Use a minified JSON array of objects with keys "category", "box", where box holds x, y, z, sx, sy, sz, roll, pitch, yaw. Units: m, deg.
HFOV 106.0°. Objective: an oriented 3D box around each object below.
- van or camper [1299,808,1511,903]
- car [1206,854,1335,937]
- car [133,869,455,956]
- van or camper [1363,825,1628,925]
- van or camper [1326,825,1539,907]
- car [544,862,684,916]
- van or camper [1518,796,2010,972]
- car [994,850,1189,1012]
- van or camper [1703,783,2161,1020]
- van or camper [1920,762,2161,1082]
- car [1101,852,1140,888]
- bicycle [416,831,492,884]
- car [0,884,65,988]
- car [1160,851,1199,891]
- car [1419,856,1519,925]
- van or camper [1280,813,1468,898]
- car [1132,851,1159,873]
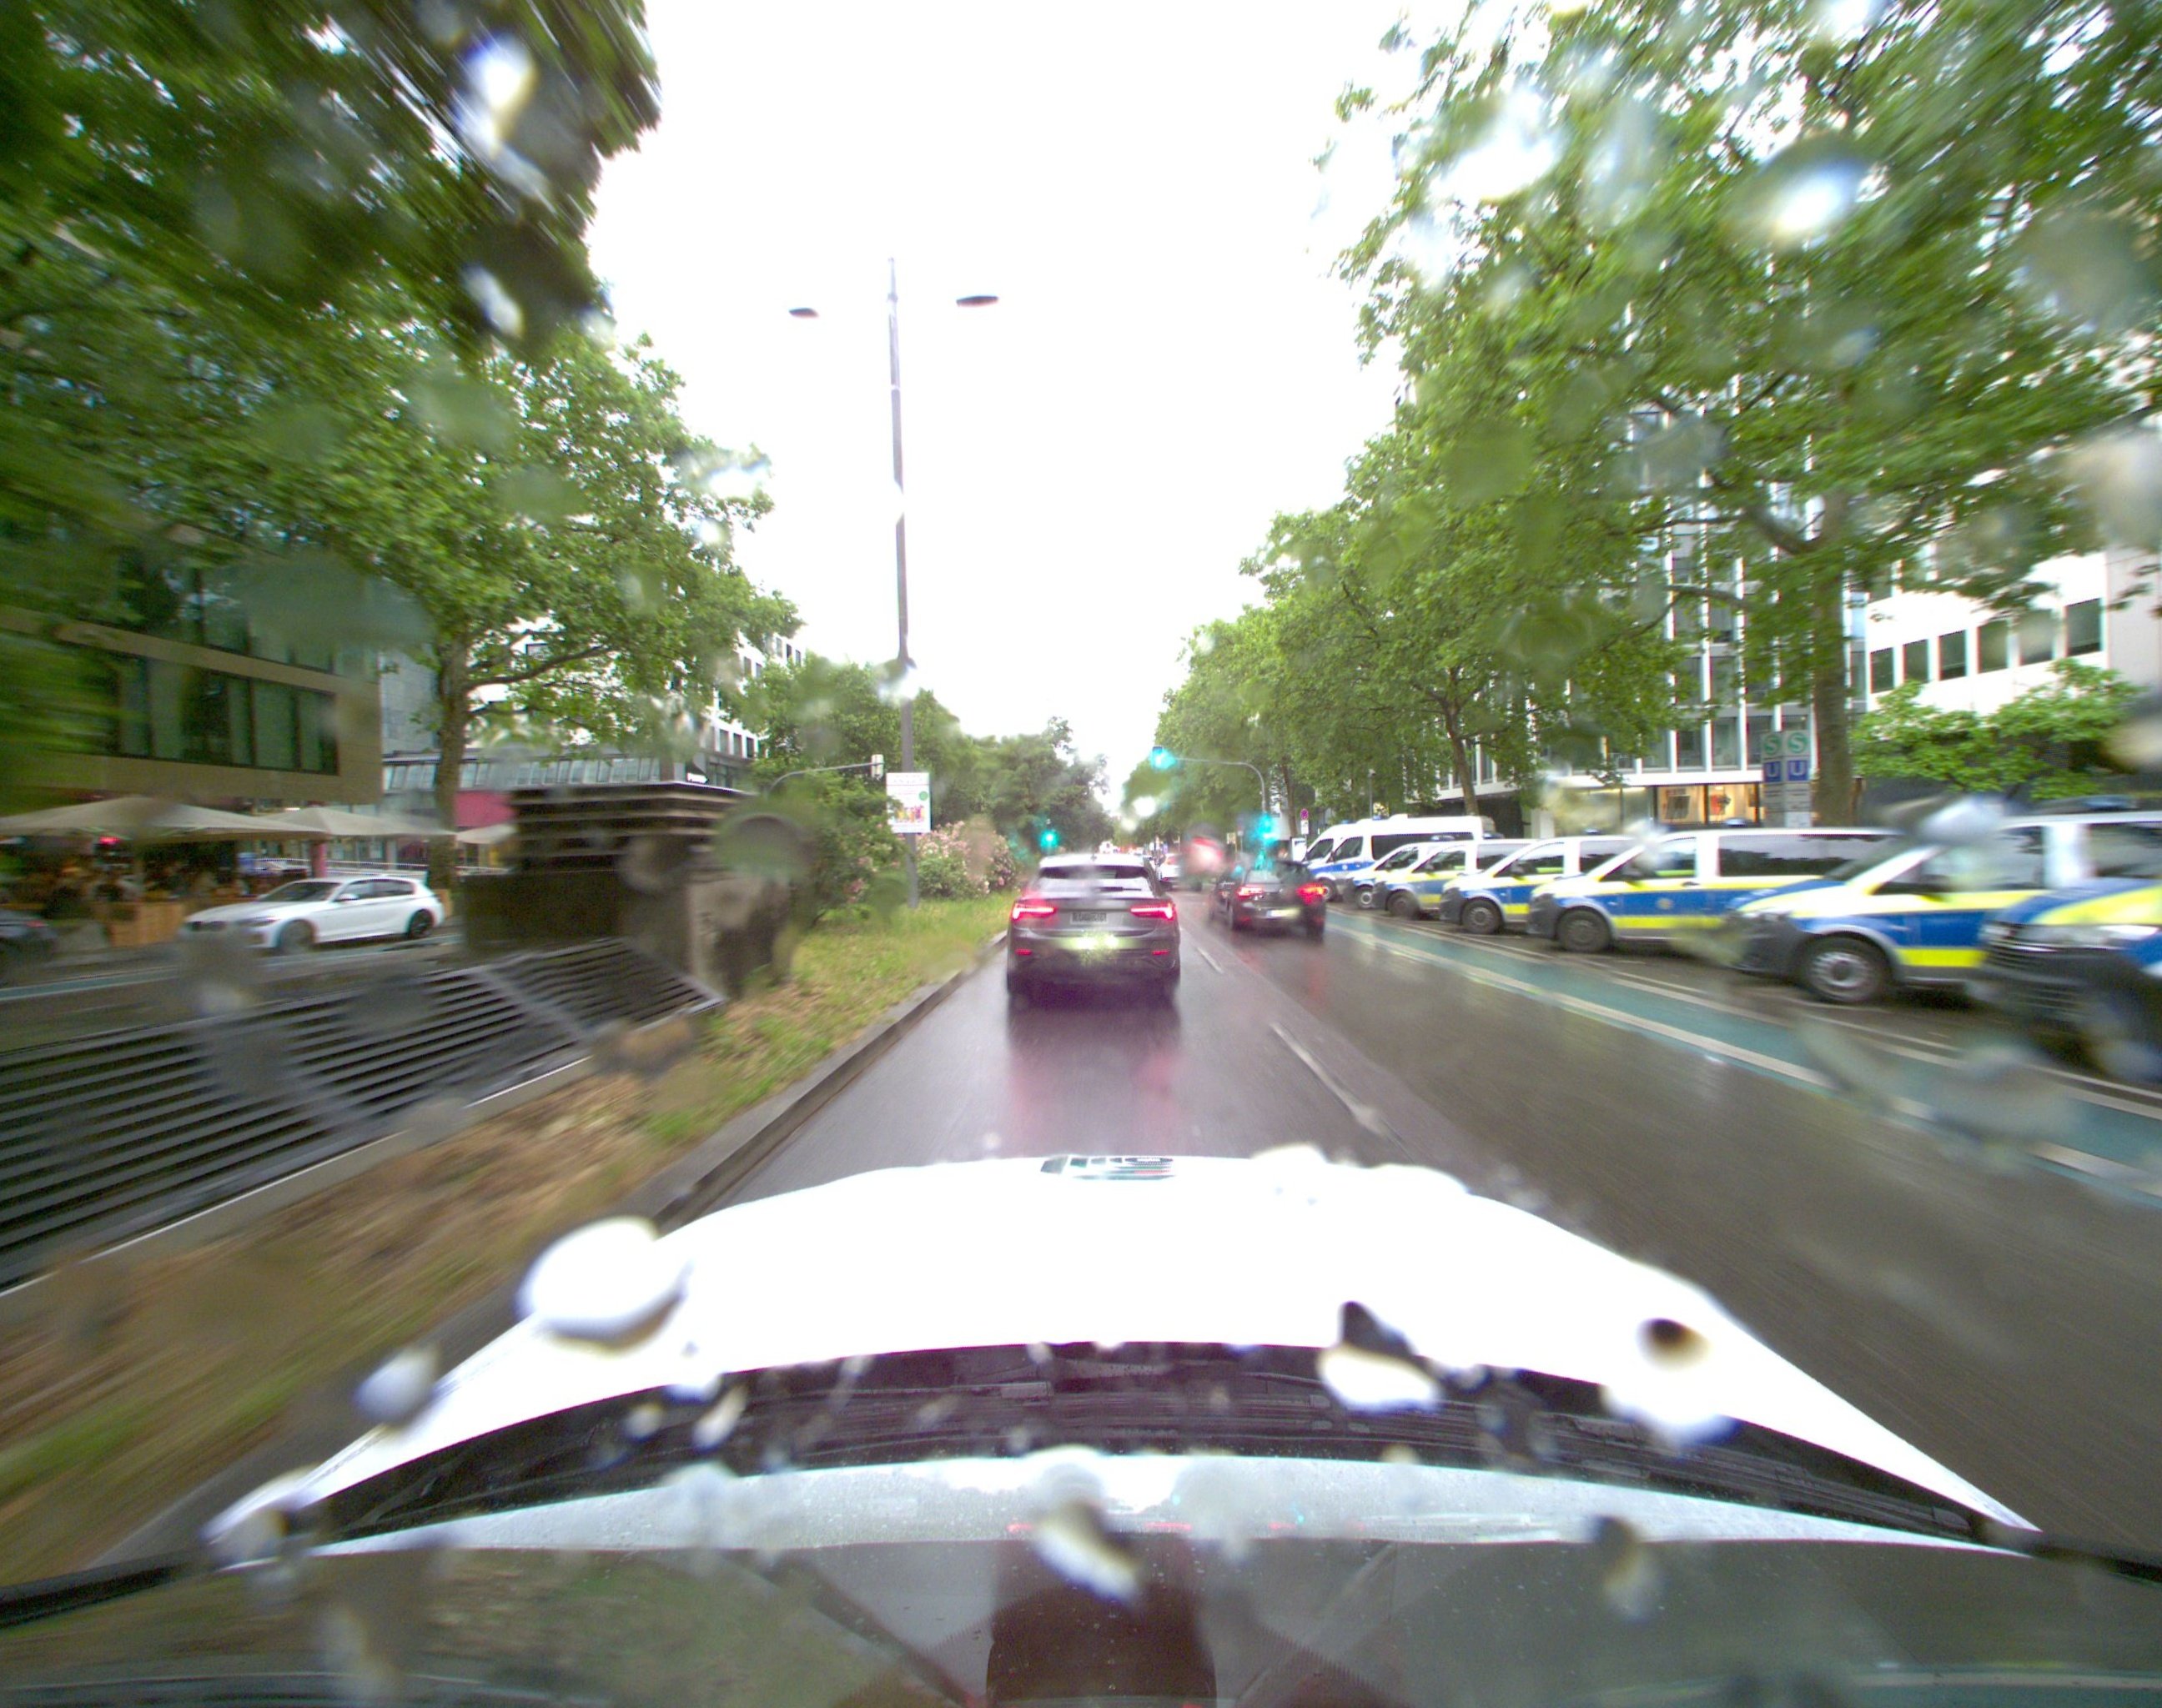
[{"category":"van or camper","box":[9.950,0.089,25.316,5.736,2.680,2.013,-2,0,37]},{"category":"car","box":[3.695,0.746,16.577,1.758,1.413,4.001,-2,0,2]},{"category":"car","box":[-15.533,1.066,16.529,1.986,1.370,4.542,1,0,2]},{"category":"van or camper","box":[9.360,0.435,18.627,5.142,1.992,2.013,0,-1,36]},{"category":"van or camper","box":[9.510,0.366,22.235,4.952,2.014,2.013,-2,-2,37]},{"category":"car","box":[-15.325,1.091,27.059,1.987,1.509,4.517,-2,0,0]},{"category":"van or camper","box":[9.387,0.366,11.796,5.042,2.025,2.119,-1,0,39]},{"category":"car","box":[0.232,0.736,10.134,1.855,1.532,4.530,-1,0,3]},{"category":"van or camper","box":[9.286,0.402,7.948,4.959,1.995,2.013,-2,0,34]},{"category":"van or camper","box":[8.678,0.397,4.932,4.733,2.011,2.013,-1,-1,38]},{"category":"car","box":[1.865,0.716,39.084,1.715,1.577,3.963,-1,0,2]},{"category":"bicycle","box":[-24.678,0.143,32.082,2.378,2.013,0.690,-2,0,-1]},{"category":"car","box":[-15.873,1.163,9.690,1.818,1.394,4.486,-1,0,2]},{"category":"car","box":[4.366,0.712,36.434,1.427,1.685,2.981,-2,0,2]},{"category":"car","box":[8.735,0.773,18.520,1.046,1.387,2.695,-2,0,2]},{"category":"van or camper","box":[10.108,0.081,28.430,5.741,2.677,2.161,-1,0,39]},{"category":"car","box":[5.253,0.624,66.356,1.986,1.750,4.002,-2,0,2]}]
